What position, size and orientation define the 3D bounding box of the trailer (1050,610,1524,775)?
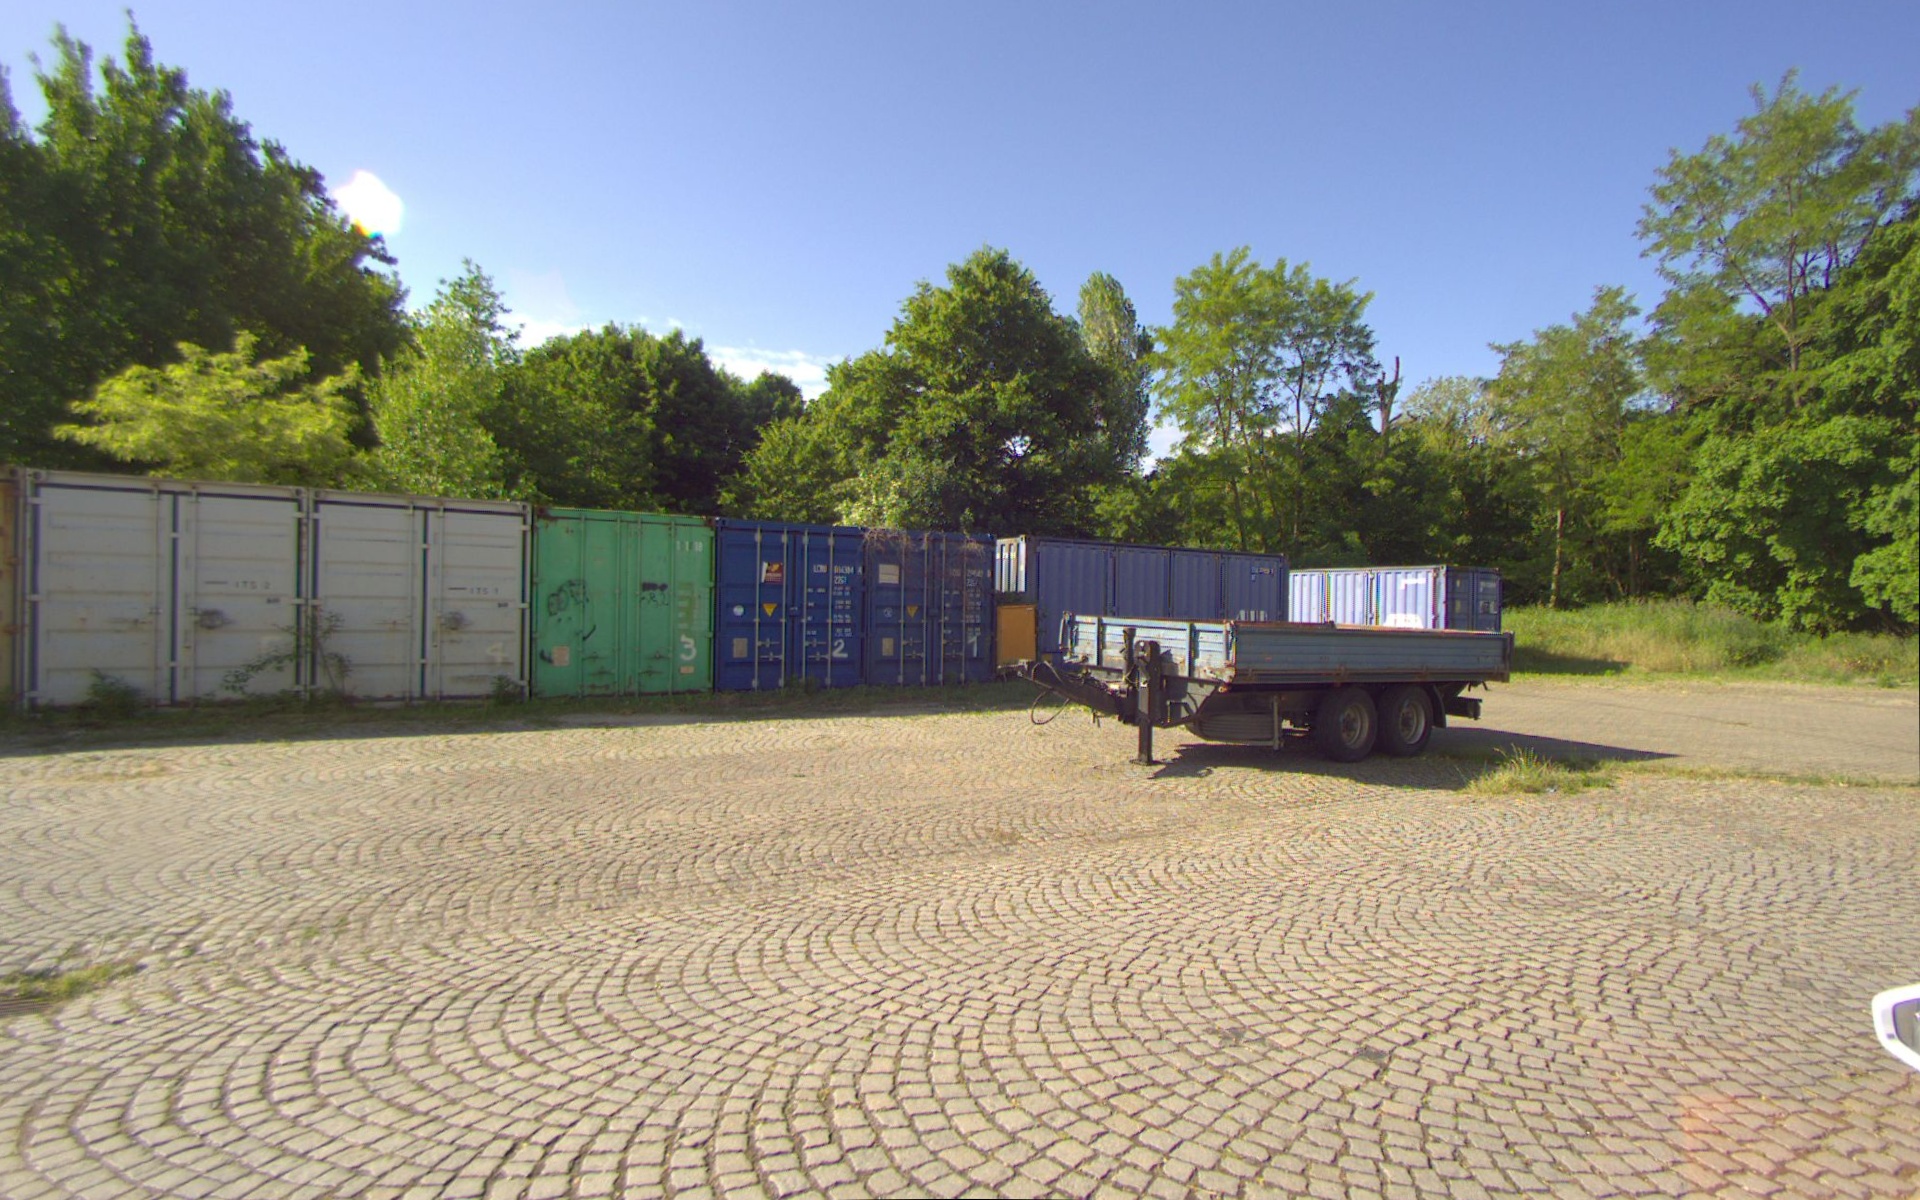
[{"bbox_3d":[3.734,0.914,11.375,4.807,1.433,2.626,2,0,-32],"label":"trailer"}]
